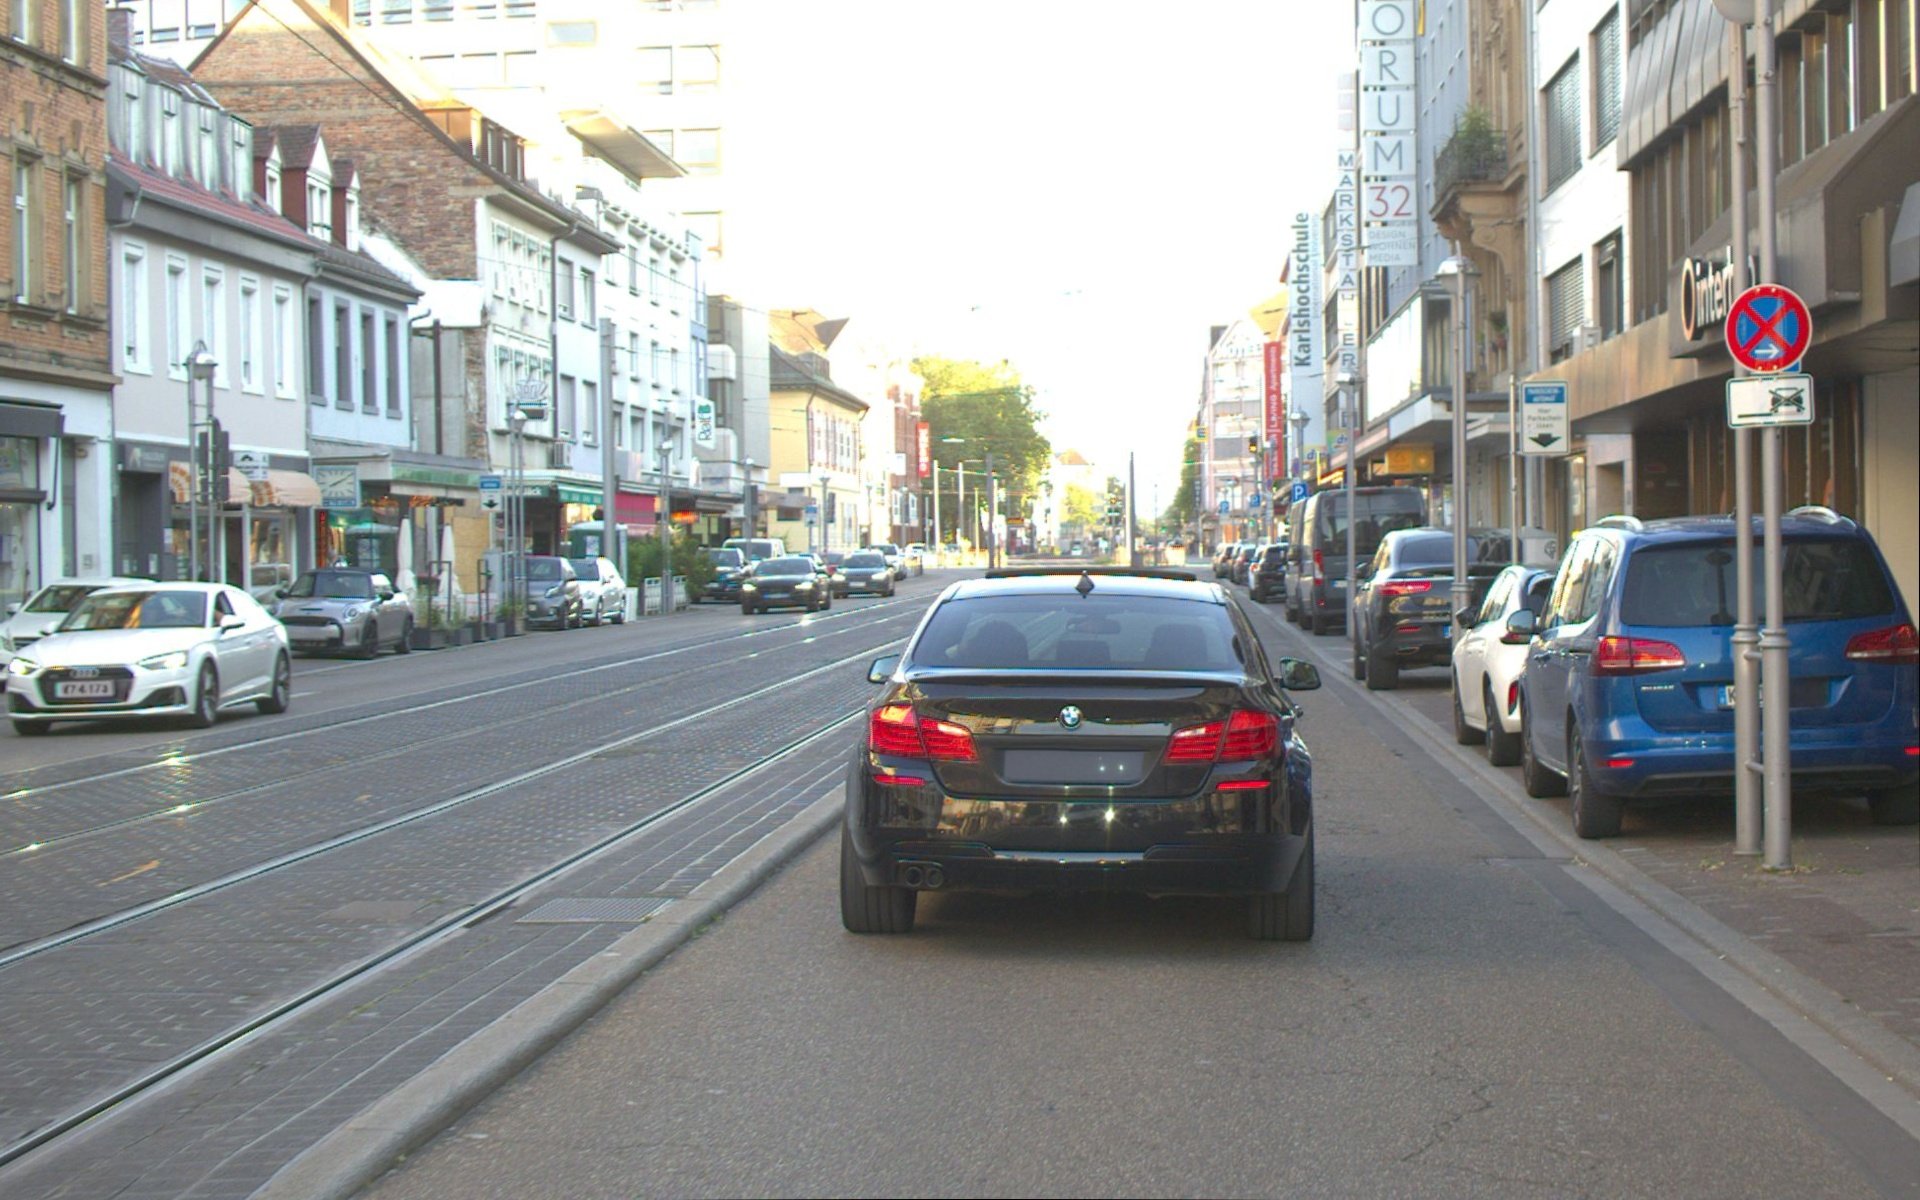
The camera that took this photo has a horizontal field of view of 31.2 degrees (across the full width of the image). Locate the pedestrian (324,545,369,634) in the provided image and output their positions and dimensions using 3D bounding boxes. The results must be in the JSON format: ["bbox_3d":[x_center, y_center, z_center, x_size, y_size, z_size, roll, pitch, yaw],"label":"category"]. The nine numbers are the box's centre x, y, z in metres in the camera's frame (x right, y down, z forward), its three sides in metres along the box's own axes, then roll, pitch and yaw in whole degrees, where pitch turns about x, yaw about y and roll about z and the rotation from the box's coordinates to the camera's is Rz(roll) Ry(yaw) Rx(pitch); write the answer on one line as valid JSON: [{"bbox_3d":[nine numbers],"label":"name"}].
[{"bbox_3d":[-11.446,-0.201,64.152,0.662,1.638,0.694,0,1,4],"label":"pedestrian"}]

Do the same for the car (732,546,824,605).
[{"bbox_3d":[-4.592,-0.643,87.190,1.993,1.448,4.649,-1,1,1],"label":"car"}]

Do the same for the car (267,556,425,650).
[{"bbox_3d":[-9.854,0.033,55.412,1.598,1.435,3.812,1,0,4],"label":"car"}]

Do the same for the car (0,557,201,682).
[{"bbox_3d":[-11.102,0.204,42.973,1.869,1.448,4.610,-1,1,5],"label":"car"}]

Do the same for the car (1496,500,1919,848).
[{"bbox_3d":[4.350,0.342,19.945,1.994,1.721,4.576,-2,1,4],"label":"car"}]

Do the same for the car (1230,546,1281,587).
[{"bbox_3d":[11.584,-1.298,135.099,1.903,1.543,3.780,0,0,4],"label":"car"}]

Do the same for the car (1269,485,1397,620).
[{"bbox_3d":[7.252,-0.942,67.290,2.033,2.447,5.409,-2,1,2],"label":"car"}]

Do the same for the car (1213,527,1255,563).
[{"bbox_3d":[11.890,-2.372,149.469,1.774,1.543,3.502,0,0,4],"label":"car"}]

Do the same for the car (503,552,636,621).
[{"bbox_3d":[-8.575,-0.318,75.915,1.994,1.448,4.821,-1,1,5],"label":"car"}]

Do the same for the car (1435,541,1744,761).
[{"bbox_3d":[4.648,0.325,25.873,1.796,1.428,3.886,-2,1,4],"label":"car"}]

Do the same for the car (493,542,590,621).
[{"bbox_3d":[-8.654,-0.393,71.235,1.477,1.572,2.794,-1,1,4],"label":"car"}]

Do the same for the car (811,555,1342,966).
[{"bbox_3d":[0.620,0.589,14.930,1.954,1.493,4.464,1,0,5],"label":"car"}]

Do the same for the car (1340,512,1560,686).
[{"bbox_3d":[5.326,-0.046,37.877,1.994,1.721,4.565,-2,1,4],"label":"car"}]

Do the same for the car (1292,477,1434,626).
[{"bbox_3d":[7.081,-0.874,60.951,2.093,2.447,6.032,-2,1,3],"label":"car"}]

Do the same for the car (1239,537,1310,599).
[{"bbox_3d":[8.183,-0.854,89.690,1.655,1.532,3.885,-2,1,3],"label":"car"}]

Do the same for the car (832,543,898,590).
[{"bbox_3d":[-3.021,-1.084,110.416,1.692,1.448,4.465,-1,1,4],"label":"car"}]

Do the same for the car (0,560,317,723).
[{"bbox_3d":[-7.910,0.357,33.652,1.994,1.448,4.655,-1,1,5],"label":"car"}]

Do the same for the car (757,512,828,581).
[{"bbox_3d":[-5.368,-1.712,110.588,1.993,2.149,4.911,-1,1,0],"label":"car"}]

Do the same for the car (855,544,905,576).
[{"bbox_3d":[-3.696,-1.853,159.559,1.929,1.430,4.245,1,1,4],"label":"car"}]

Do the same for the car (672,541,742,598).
[{"bbox_3d":[-7.531,-0.921,102.565,1.866,1.679,4.000,0,1,-1],"label":"car"}]

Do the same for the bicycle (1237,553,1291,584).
[{"bbox_3d":[10.504,-1.079,118.761,1.861,1.076,0.468,0,0,5],"label":"bicycle"}]

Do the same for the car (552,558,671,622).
[{"bbox_3d":[-8.165,-0.254,80.896,1.994,1.448,4.329,-1,1,5],"label":"car"}]

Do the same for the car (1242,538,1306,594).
[{"bbox_3d":[8.622,-0.942,94.629,1.559,1.437,3.709,-3,1,3],"label":"car"}]
